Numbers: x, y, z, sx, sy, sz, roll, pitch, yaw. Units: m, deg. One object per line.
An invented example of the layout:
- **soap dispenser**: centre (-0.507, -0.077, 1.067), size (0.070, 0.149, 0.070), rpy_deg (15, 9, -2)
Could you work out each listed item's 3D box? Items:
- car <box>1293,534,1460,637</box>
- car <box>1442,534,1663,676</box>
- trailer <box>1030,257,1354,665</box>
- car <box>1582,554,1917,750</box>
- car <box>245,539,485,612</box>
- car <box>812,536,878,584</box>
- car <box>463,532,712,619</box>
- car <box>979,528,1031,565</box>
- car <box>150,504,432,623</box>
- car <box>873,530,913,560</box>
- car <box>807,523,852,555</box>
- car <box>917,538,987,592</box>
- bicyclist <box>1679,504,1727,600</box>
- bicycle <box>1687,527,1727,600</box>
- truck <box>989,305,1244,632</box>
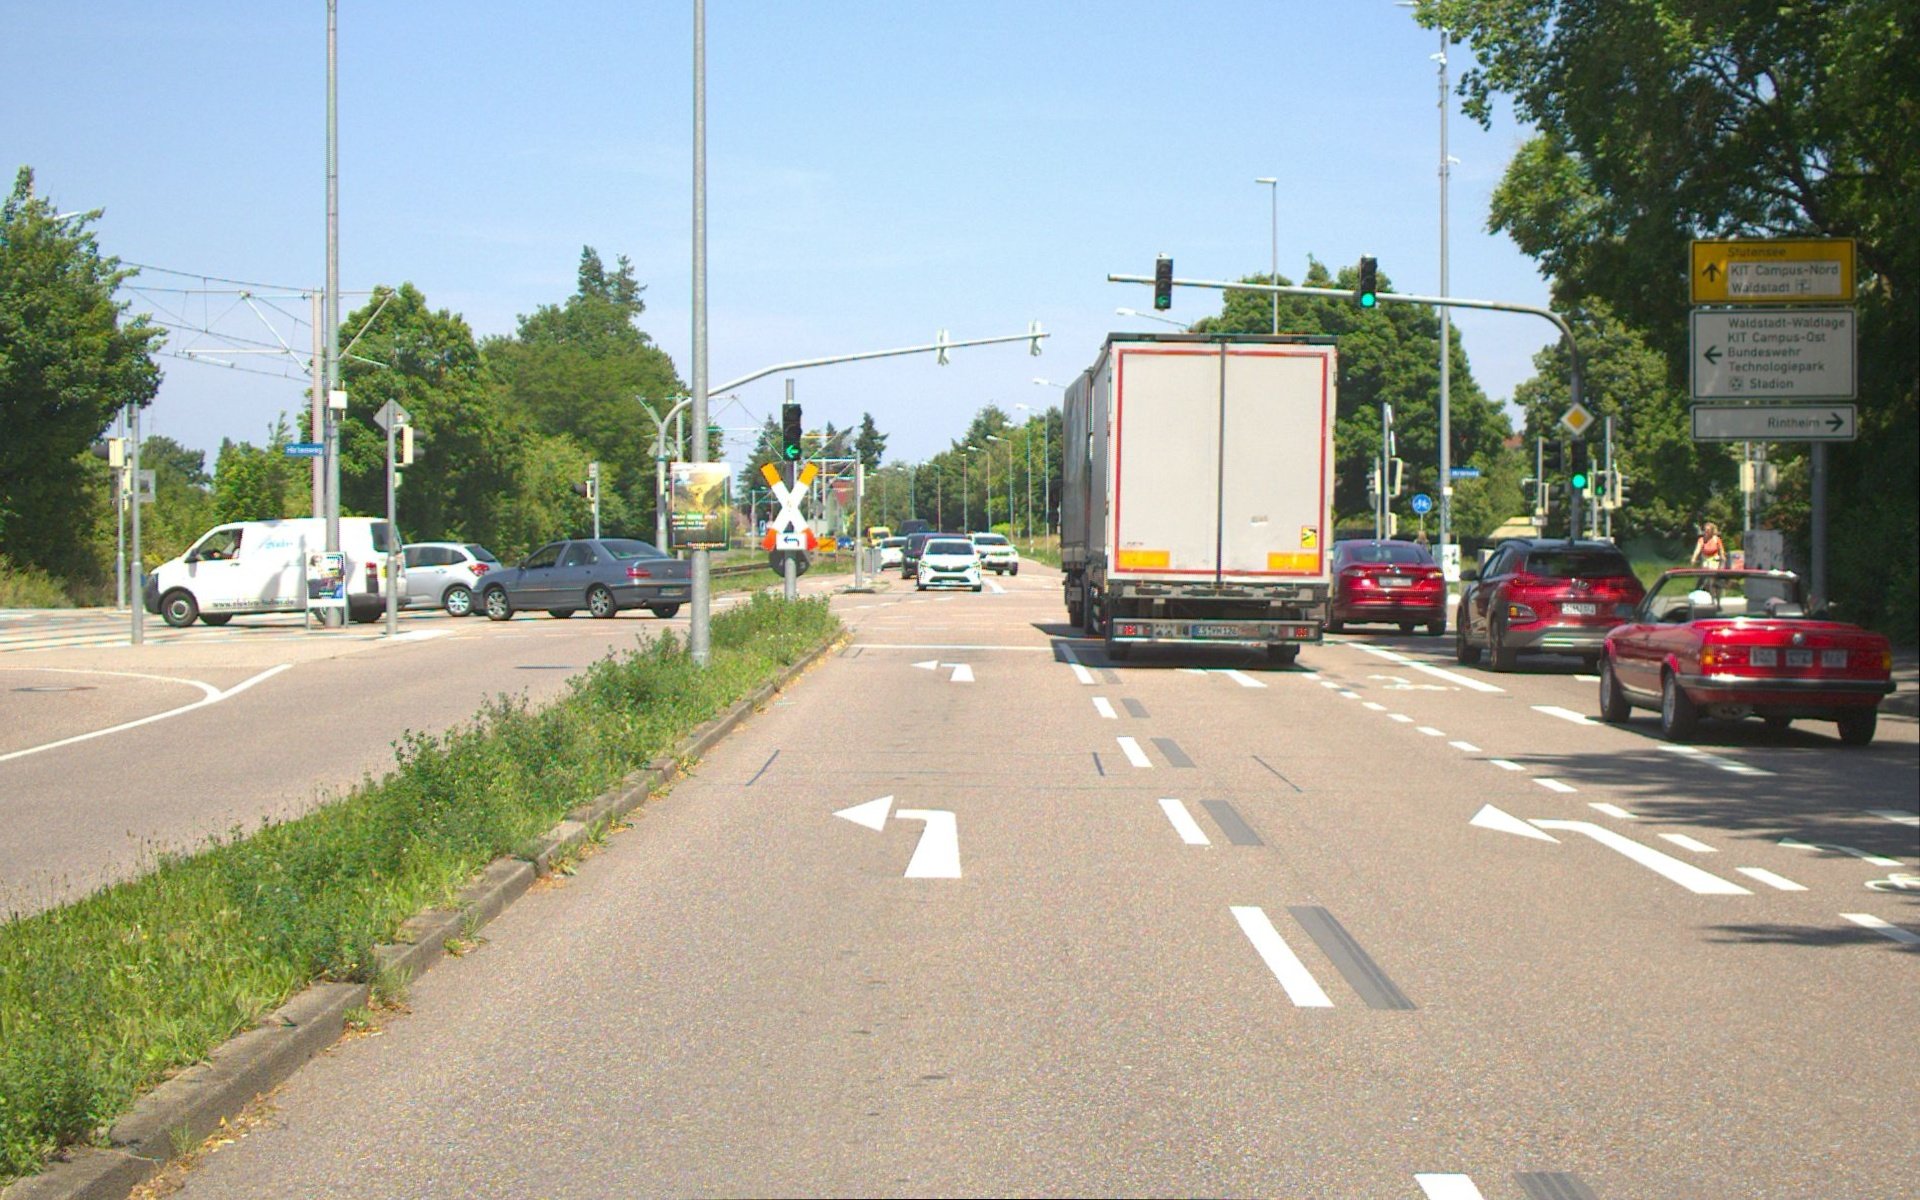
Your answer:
- **car**: centre (6.513, -0.263, 54.163), size (1.993, 1.498, 4.503), rpy_deg (0, 2, -1)
- **car**: centre (6.980, 0.024, 40.862), size (1.858, 1.544, 3.887), rpy_deg (1, 1, -1)
- **trailer**: centre (2.638, -1.633, 42.149), size (2.827, 4.406, 8.751), rpy_deg (1, 1, -3)
- **car**: centre (6.325, 0.362, 27.999), size (1.654, 1.392, 4.267), rpy_deg (1, 1, -1)
- **car**: centre (-11.748, -0.499, 67.844), size (4.414, 1.367, 1.899), rpy_deg (0, 2, -20)
- **car**: centre (-3.440, -1.221, 103.523), size (1.858, 1.368, 4.156), rpy_deg (1, 1, -1)
- **car**: centre (-6.555, -0.455, 60.244), size (4.427, 1.367, 1.894), rpy_deg (2, 3, 43)
- **car**: centre (1.724, -2.081, 133.536), size (1.858, 1.368, 4.156), rpy_deg (1, 1, -1)
- **car**: centre (-12.412, -0.698, 63.895), size (4.734, 2.103, 1.999), rpy_deg (1, 2, 12)
- **car**: centre (-3.172, -2.622, 163.366), size (1.858, 1.368, 4.156), rpy_deg (1, 1, -1)
- **car**: centre (-5.827, -2.747, 153.836), size (1.858, 1.368, 4.156), rpy_deg (1, 1, -1)
- **car**: centre (-0.239, -0.982, 94.136), size (1.858, 1.368, 4.156), rpy_deg (1, 1, -1)
- **bicyclist**: centre (13.691, -0.884, 63.367), size (0.802, 1.721, 0.678), rpy_deg (-2, 1, 12)
- **bicycle**: centre (13.801, -0.681, 63.515), size (0.645, 1.300, 1.625), rpy_deg (-2, 1, 11)
- **truck**: centre (2.156, -1.926, 50.698), size (2.827, 4.329, 8.286), rpy_deg (2, 2, -3)
